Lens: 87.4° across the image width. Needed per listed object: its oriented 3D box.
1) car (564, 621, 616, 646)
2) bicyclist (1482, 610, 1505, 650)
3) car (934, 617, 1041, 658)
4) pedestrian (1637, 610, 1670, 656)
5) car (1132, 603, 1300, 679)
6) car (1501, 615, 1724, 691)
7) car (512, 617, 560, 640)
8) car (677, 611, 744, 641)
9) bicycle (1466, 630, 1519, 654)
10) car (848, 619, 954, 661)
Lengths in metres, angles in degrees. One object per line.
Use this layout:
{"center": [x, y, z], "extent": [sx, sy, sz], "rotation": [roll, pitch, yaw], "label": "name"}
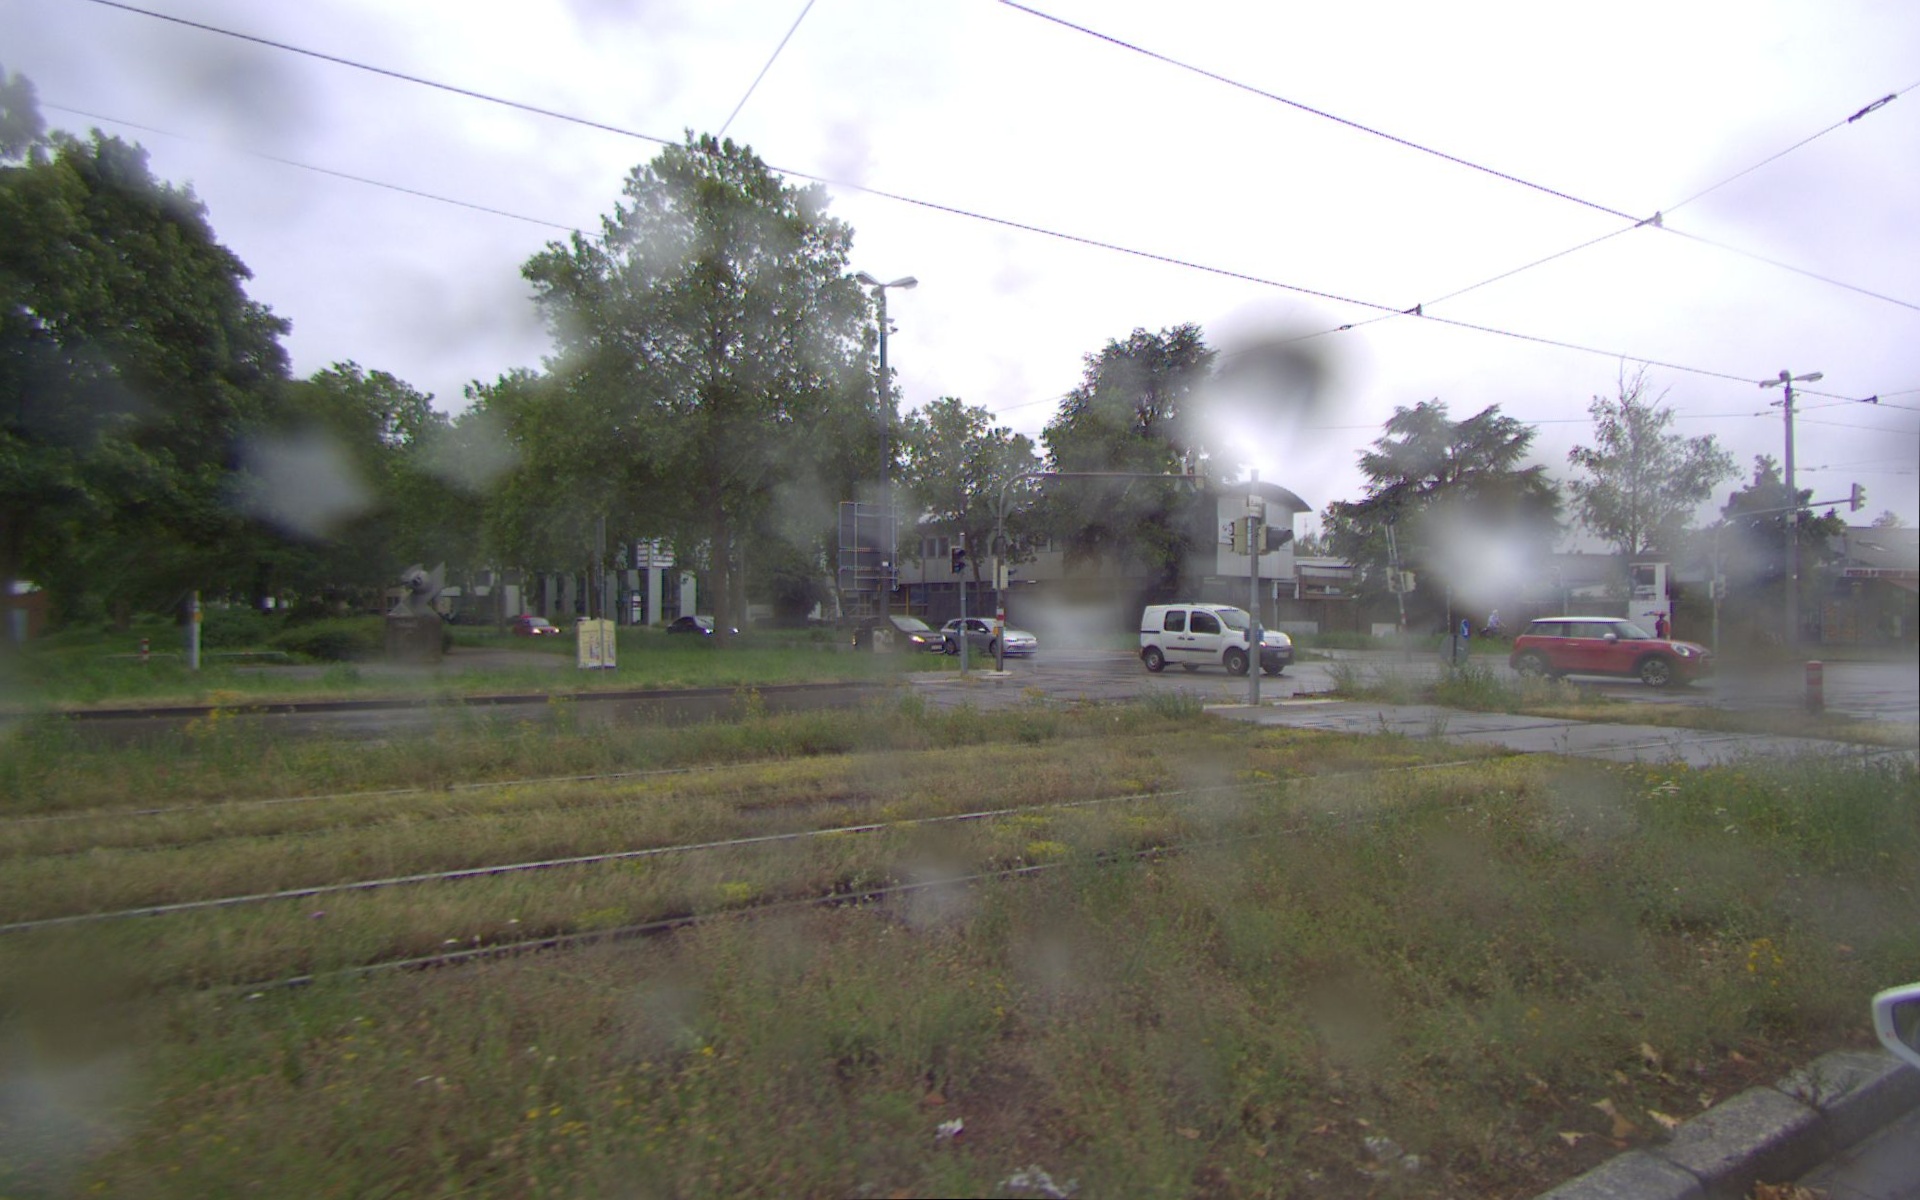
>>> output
{"center": [-21.664, 1.923, 58.738], "extent": [1.639, 1.413, 3.783], "rotation": [2, -2, -41], "label": "car"}
{"center": [22.981, 1.295, 43.273], "extent": [0.635, 1.705, 0.680], "rotation": [1, -2, -34], "label": "bicyclist"}
{"center": [0.995, 1.424, 38.570], "extent": [1.639, 1.475, 4.317], "rotation": [2, -2, -41], "label": "car"}
{"center": [27.325, 1.281, 39.592], "extent": [0.787, 1.787, 0.909], "rotation": [0, -1, 15], "label": "pedestrian"}
{"center": [6.604, 1.008, 26.290], "extent": [1.637, 1.820, 4.178], "rotation": [0, 0, -38], "label": "car"}
{"center": [14.425, 1.108, 22.369], "extent": [1.638, 1.519, 3.876], "rotation": [0, 0, -39], "label": "car"}
{"center": [-26.376, 1.766, 62.371], "extent": [1.639, 1.413, 3.783], "rotation": [2, -2, -41], "label": "car"}
{"center": [-12.260, 1.275, 49.185], "extent": [1.639, 1.413, 3.783], "rotation": [2, -2, -41], "label": "car"}
{"center": [22.939, 1.810, 43.304], "extent": [0.635, 0.979, 1.947], "rotation": [1, -2, -33], "label": "bicycle"}
{"center": [-2.249, 1.449, 37.190], "extent": [1.639, 1.475, 4.317], "rotation": [2, -2, -41], "label": "car"}
